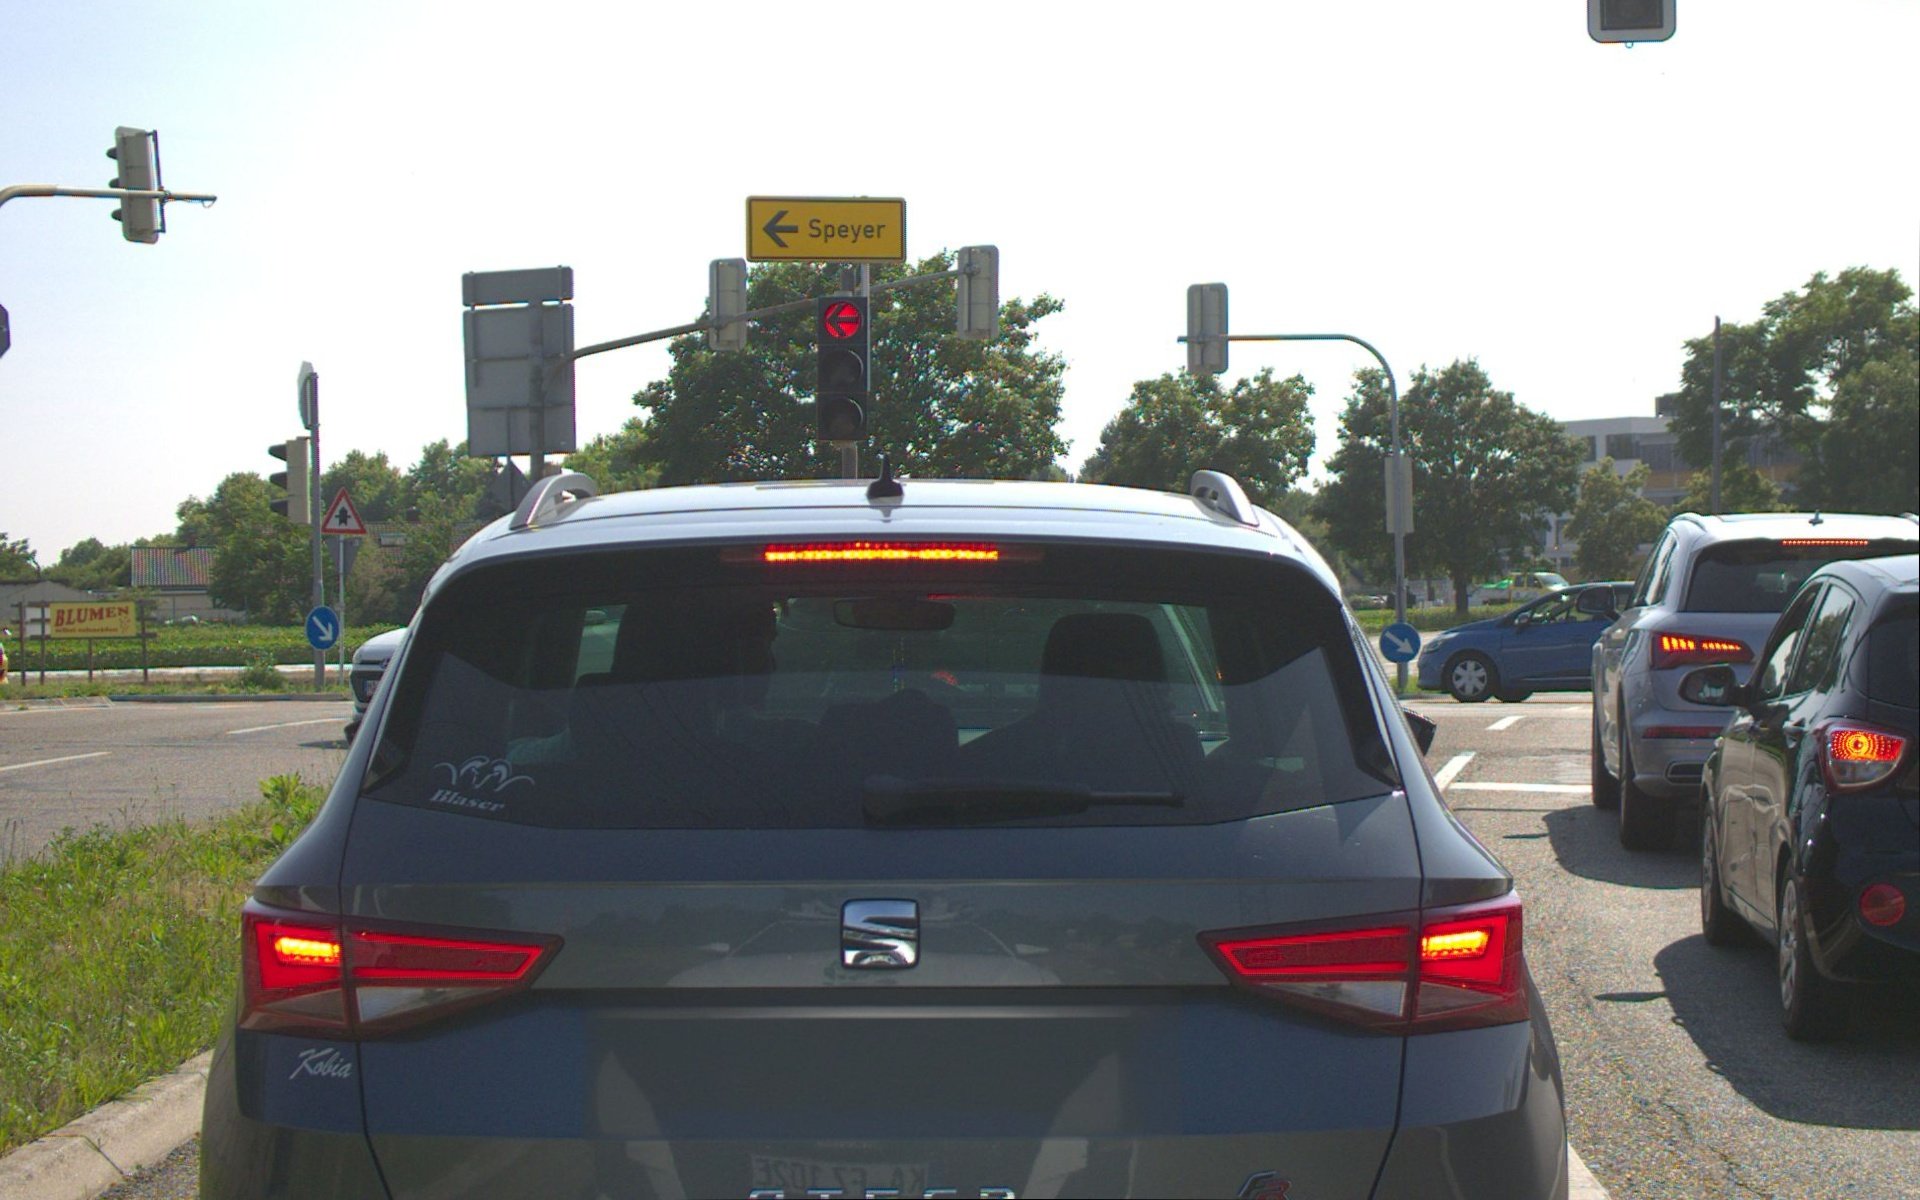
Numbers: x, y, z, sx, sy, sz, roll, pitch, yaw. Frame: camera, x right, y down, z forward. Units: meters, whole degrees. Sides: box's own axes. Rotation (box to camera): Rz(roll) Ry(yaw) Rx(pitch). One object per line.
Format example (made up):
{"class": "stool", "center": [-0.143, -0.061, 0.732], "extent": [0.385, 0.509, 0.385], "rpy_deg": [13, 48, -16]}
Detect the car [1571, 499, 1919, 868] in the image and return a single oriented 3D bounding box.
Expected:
{"class": "car", "center": [4.083, 0.360, 17.565], "extent": [1.633, 1.671, 3.749], "rpy_deg": [1, 1, 6]}

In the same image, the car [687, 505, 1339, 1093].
{"class": "car", "center": [0.153, 0.524, 11.147], "extent": [1.742, 1.563, 3.624], "rpy_deg": [1, 0, 0]}

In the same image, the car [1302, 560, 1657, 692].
{"class": "car", "center": [6.245, 0.306, 41.291], "extent": [3.872, 1.514, 1.805], "rpy_deg": [0, 1, 24]}

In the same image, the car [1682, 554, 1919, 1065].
{"class": "car", "center": [3.383, 0.580, 11.337], "extent": [1.633, 1.443, 3.294], "rpy_deg": [1, 1, 6]}

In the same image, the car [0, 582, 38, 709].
{"class": "car", "center": [-14.378, 0.605, 45.558], "extent": [3.993, 1.645, 1.817], "rpy_deg": [0, 0, 28]}

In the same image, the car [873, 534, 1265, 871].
{"class": "car", "center": [0.636, 0.446, 17.269], "extent": [1.742, 1.479, 3.623], "rpy_deg": [1, 0, 5]}

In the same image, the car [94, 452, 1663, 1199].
{"class": "car", "center": [-0.117, 0.616, 5.662], "extent": [1.742, 1.563, 3.624], "rpy_deg": [1, 0, -1]}

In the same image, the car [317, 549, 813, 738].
{"class": "car", "center": [-3.230, 0.313, 28.636], "extent": [1.722, 1.460, 3.902], "rpy_deg": [0, 1, 44]}
